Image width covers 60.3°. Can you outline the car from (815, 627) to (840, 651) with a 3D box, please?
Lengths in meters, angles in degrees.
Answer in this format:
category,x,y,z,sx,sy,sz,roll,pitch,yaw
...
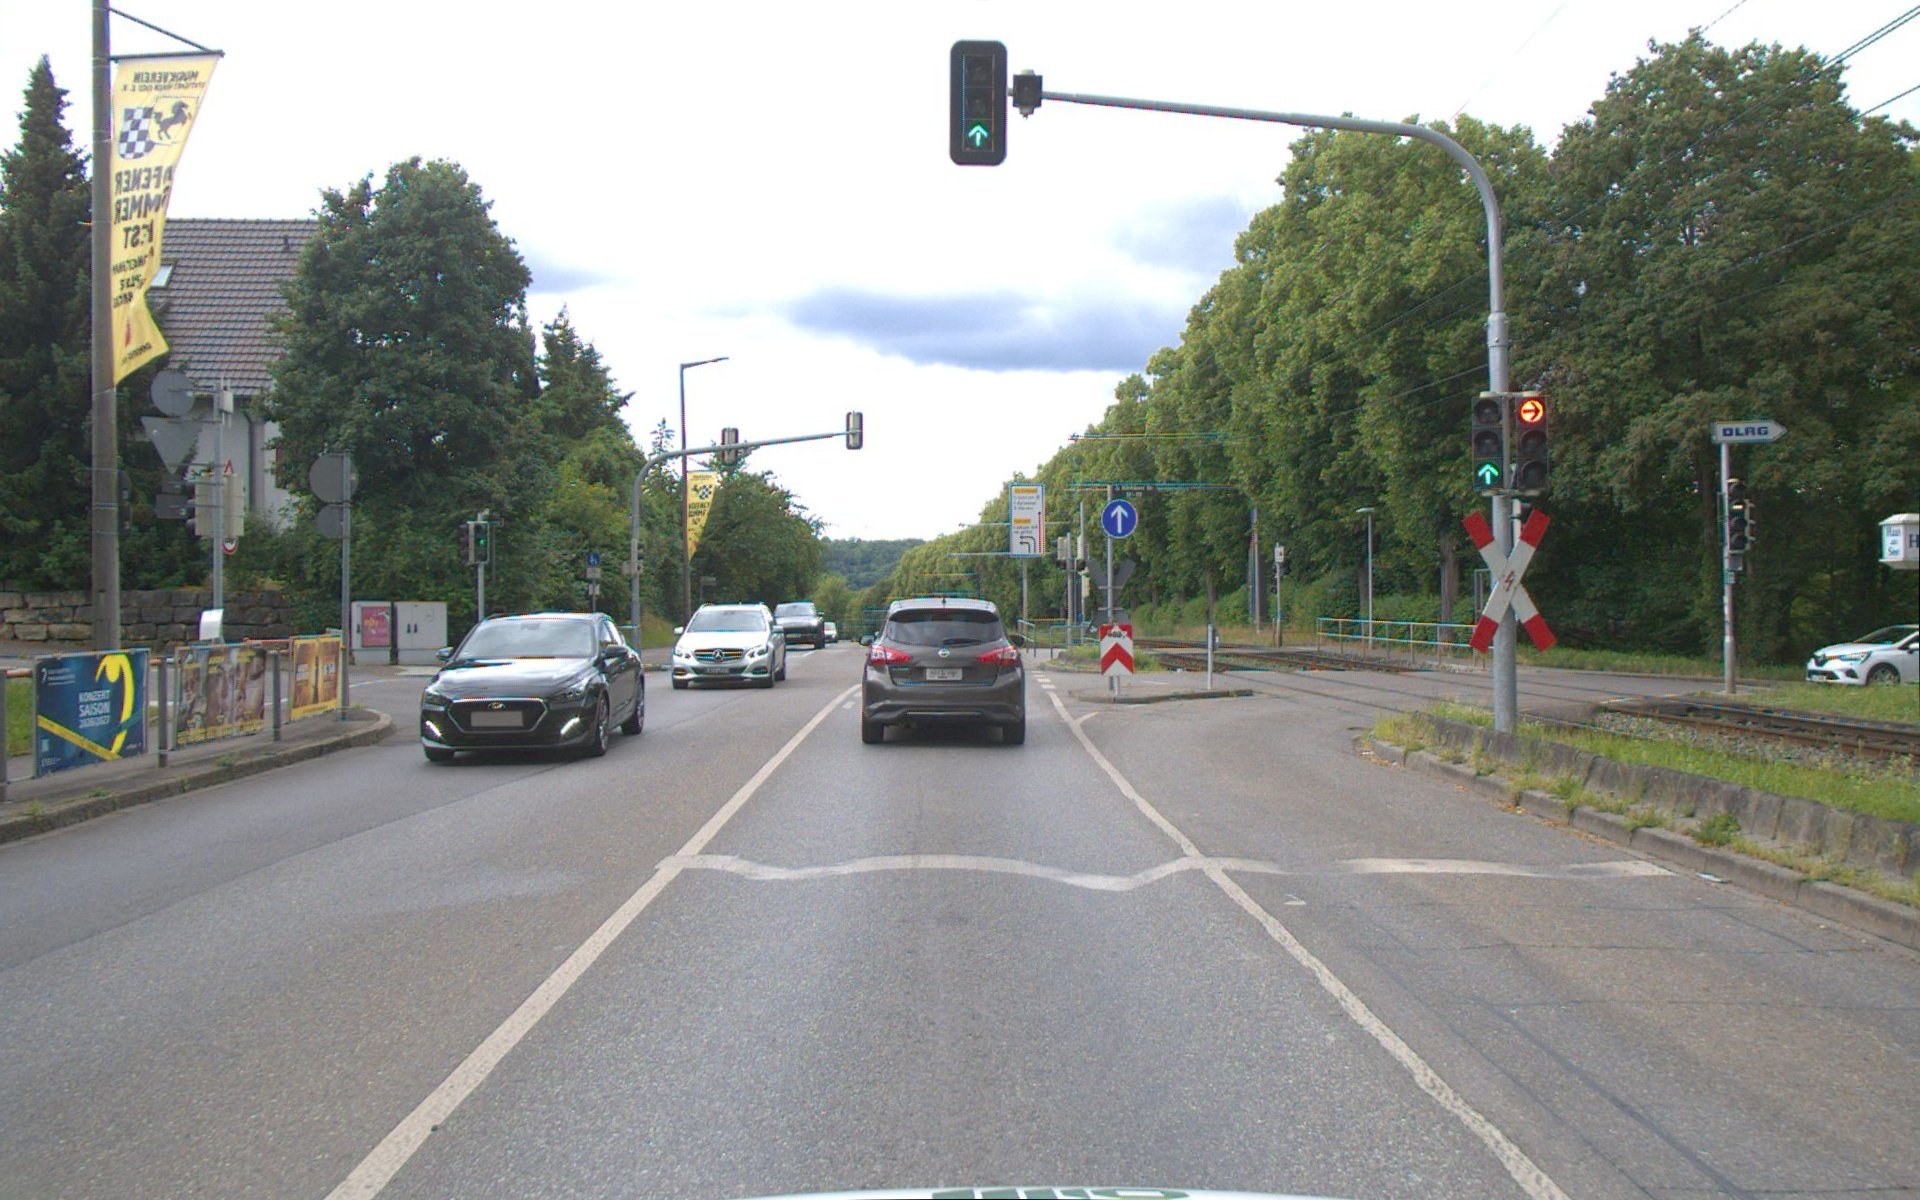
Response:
category,x,y,z,sx,sy,sz,roll,pitch,yaw
car,-10.025,2.956,125.495,1.749,1.725,3.998,-1,-1,-2

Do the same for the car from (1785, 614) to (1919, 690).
category,x,y,z,sx,sy,sz,roll,pitch,yaw
car,19.019,1.091,33.195,3.911,1.377,1.997,3,0,-7

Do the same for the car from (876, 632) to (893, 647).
category,x,y,z,sx,sy,sz,roll,pitch,yaw
car,-7.837,4.093,172.022,1.707,1.333,3.998,2,0,-3

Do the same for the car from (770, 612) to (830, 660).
category,x,y,z,sx,sy,sz,roll,pitch,yaw
car,-5.607,1.271,58.264,1.863,1.602,4.479,1,-1,-3

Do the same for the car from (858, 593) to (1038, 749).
category,x,y,z,sx,sy,sz,roll,pitch,yaw
car,-0.144,0.709,18.956,1.798,1.545,4.482,1,0,-1

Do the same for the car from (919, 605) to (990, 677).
category,x,y,z,sx,sy,sz,roll,pitch,yaw
car,-0.134,0.885,37.309,1.507,1.504,3.763,-1,0,-1

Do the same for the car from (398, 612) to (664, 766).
category,x,y,z,sx,sy,sz,roll,pitch,yaw
car,-4.456,0.865,17.829,1.775,1.397,4.160,-1,0,0

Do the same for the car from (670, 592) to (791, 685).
category,x,y,z,sx,sy,sz,roll,pitch,yaw
car,-4.251,0.664,31.366,1.782,1.594,5.202,1,0,-3

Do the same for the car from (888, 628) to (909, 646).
category,x,y,z,sx,sy,sz,roll,pitch,yaw
car,-5.048,2.986,135.097,1.707,1.333,3.998,2,0,-3
